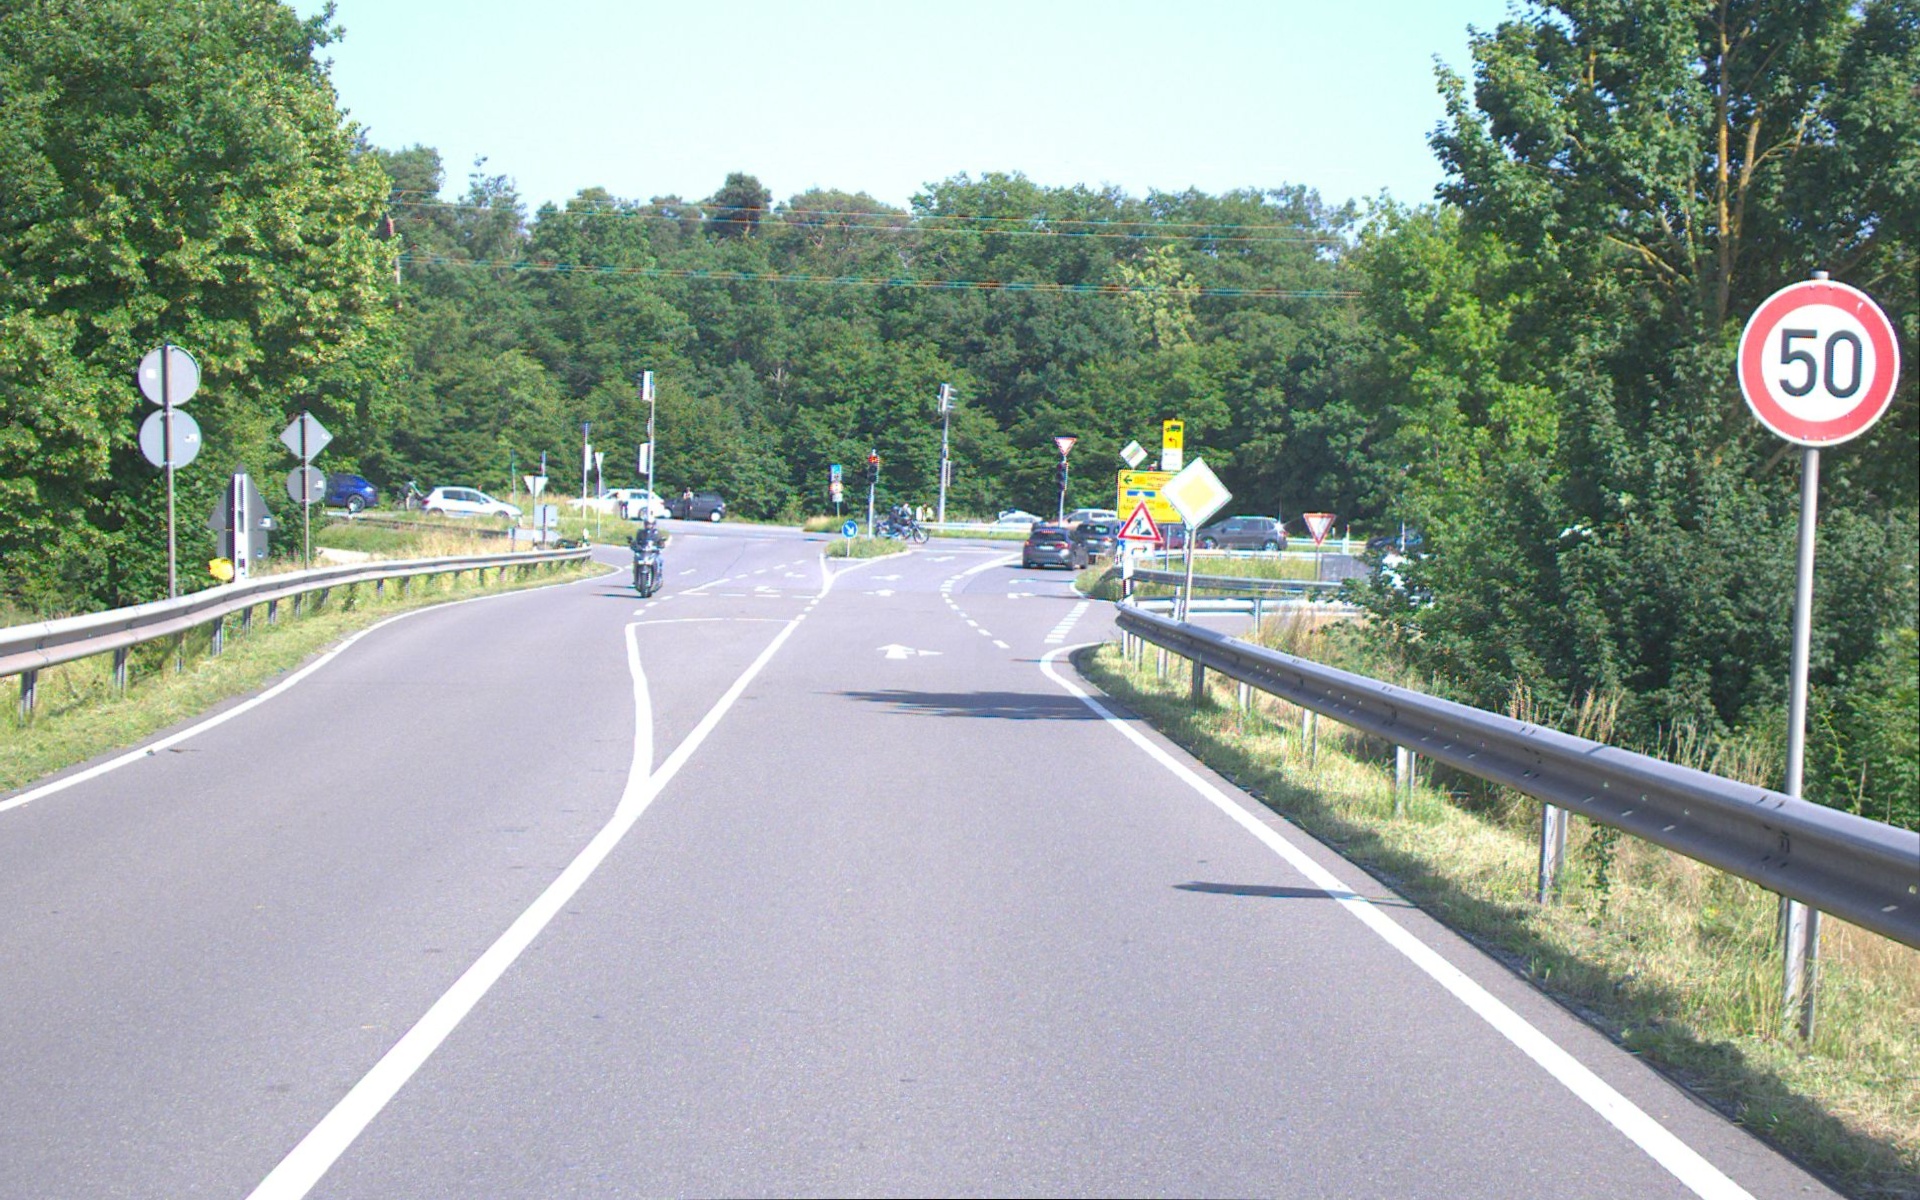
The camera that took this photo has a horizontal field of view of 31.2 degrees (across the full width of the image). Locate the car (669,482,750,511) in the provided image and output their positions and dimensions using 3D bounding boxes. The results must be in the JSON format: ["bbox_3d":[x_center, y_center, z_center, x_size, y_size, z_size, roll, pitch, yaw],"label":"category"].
[{"bbox_3d":[-12.613,-5.187,172.843,3.986,1.417,1.796,0,1,-7],"label":"car"}]

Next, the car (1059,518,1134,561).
[{"bbox_3d":[5.112,-2.256,128.033,1.801,1.495,3.997,3,2,17],"label":"car"}]

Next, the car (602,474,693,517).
[{"bbox_3d":[-15.043,-5.012,165.519,3.986,2.007,1.796,0,2,-22],"label":"car"}]

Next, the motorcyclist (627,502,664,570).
[{"bbox_3d":[-6.583,-1.343,72.079,0.699,1.403,0.784,0,1,0],"label":"motorcyclist"}]

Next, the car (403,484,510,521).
[{"bbox_3d":[-20.407,-3.955,139.411,4.227,1.454,2.001,0,1,-7],"label":"car"}]

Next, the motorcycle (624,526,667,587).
[{"bbox_3d":[-6.581,-0.922,72.029,0.717,1.246,2.078,0,1,0],"label":"motorcycle"}]

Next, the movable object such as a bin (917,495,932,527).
[{"bbox_3d":[-1.636,-4.113,159.040,0.602,1.483,0.732,1,1,7],"label":"movable object such as a bin"}]

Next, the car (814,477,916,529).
[{"bbox_3d":[-3.955,-4.025,142.544,3.986,2.006,1.801,2,2,-9],"label":"car"}]

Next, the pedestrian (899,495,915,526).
[{"bbox_3d":[-2.448,-4.124,158.332,0.524,1.386,0.513,1,2,33],"label":"pedestrian"}]

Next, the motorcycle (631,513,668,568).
[{"bbox_3d":[-7.559,-1.457,83.762,0.717,1.304,2.181,0,1,-1],"label":"motorcycle"}]

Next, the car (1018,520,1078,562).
[{"bbox_3d":[3.113,-2.073,120.470,1.799,1.393,3.999,-2,1,5],"label":"car"}]
